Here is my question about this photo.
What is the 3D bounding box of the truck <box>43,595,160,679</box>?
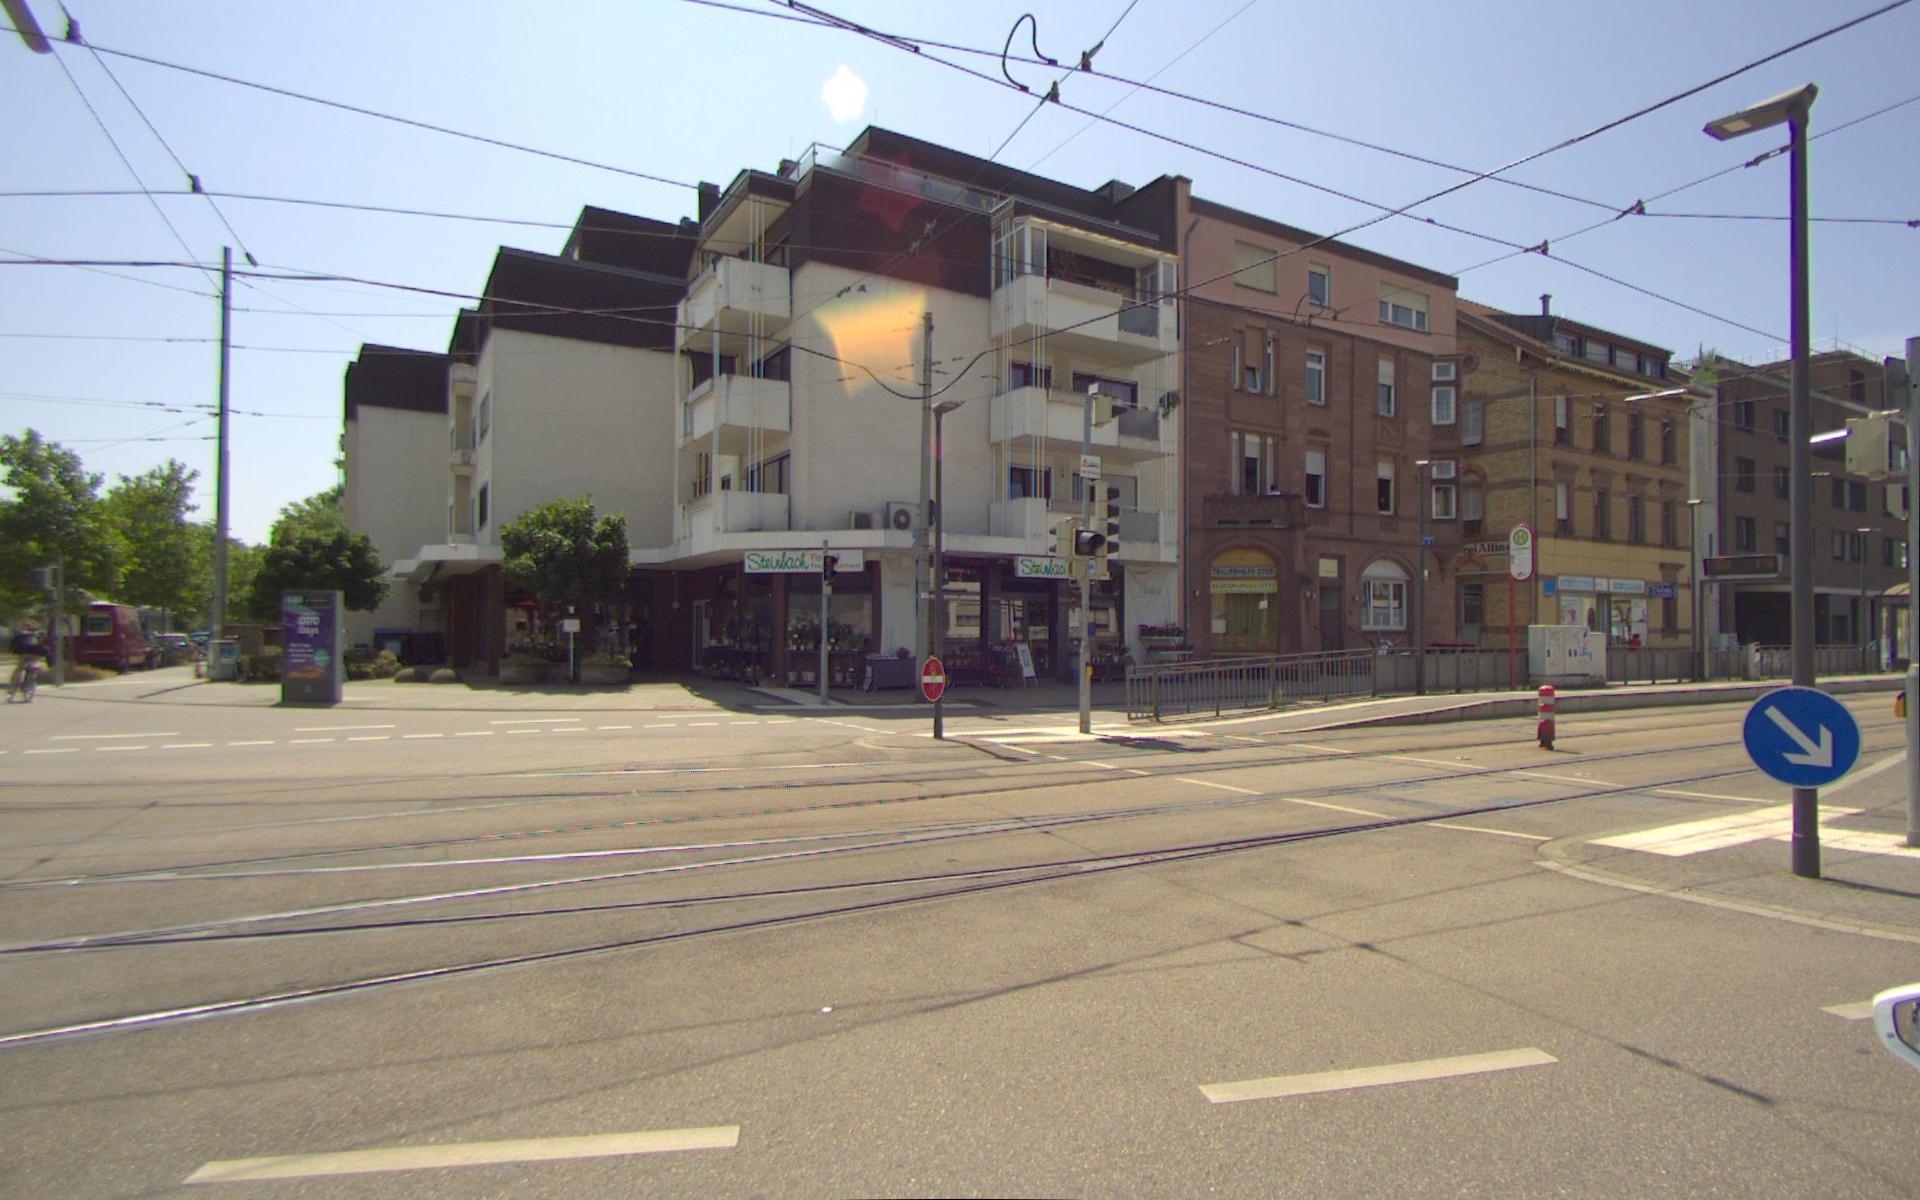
[{"bbox_3d":[-29.916,1.295,35.196,2.161,2.734,5.003,1,-2,-30],"label":"truck"}]

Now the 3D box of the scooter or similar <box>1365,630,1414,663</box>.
[{"bbox_3d":[14.590,1.587,34.145,1.550,1.096,0.488,0,-2,-15],"label":"scooter or similar"}]

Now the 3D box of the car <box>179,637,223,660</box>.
[{"bbox_3d":[-43.887,2.776,58.132,1.571,1.256,3.553,1,-2,-30],"label":"car"}]

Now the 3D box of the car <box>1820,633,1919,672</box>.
[{"bbox_3d":[37.533,2.122,41.344,3.951,1.528,1.985,1,-2,-29],"label":"car"}]

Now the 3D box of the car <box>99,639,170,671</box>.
[{"bbox_3d":[-33.010,2.171,40.247,1.571,1.235,3.553,1,-2,-30],"label":"car"}]

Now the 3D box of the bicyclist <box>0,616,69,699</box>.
[{"bbox_3d":[-20.582,1.274,22.273,1.112,1.785,0.735,-1,-2,18],"label":"bicyclist"}]

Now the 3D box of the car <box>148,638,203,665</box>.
[{"bbox_3d":[-38.056,2.494,48.786,1.571,1.256,3.553,1,-2,-30],"label":"car"}]

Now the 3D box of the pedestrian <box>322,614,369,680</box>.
[{"bbox_3d":[-16.295,1.239,26.651,0.791,1.719,0.702,0,-2,6],"label":"pedestrian"}]

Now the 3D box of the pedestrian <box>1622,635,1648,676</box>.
[{"bbox_3d":[26.460,2.158,39.384,0.633,1.581,0.611,1,-2,-31],"label":"pedestrian"}]

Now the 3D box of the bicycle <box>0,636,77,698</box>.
[{"bbox_3d":[-20.778,1.482,22.360,2.063,1.321,0.679,-1,-3,18],"label":"bicycle"}]
